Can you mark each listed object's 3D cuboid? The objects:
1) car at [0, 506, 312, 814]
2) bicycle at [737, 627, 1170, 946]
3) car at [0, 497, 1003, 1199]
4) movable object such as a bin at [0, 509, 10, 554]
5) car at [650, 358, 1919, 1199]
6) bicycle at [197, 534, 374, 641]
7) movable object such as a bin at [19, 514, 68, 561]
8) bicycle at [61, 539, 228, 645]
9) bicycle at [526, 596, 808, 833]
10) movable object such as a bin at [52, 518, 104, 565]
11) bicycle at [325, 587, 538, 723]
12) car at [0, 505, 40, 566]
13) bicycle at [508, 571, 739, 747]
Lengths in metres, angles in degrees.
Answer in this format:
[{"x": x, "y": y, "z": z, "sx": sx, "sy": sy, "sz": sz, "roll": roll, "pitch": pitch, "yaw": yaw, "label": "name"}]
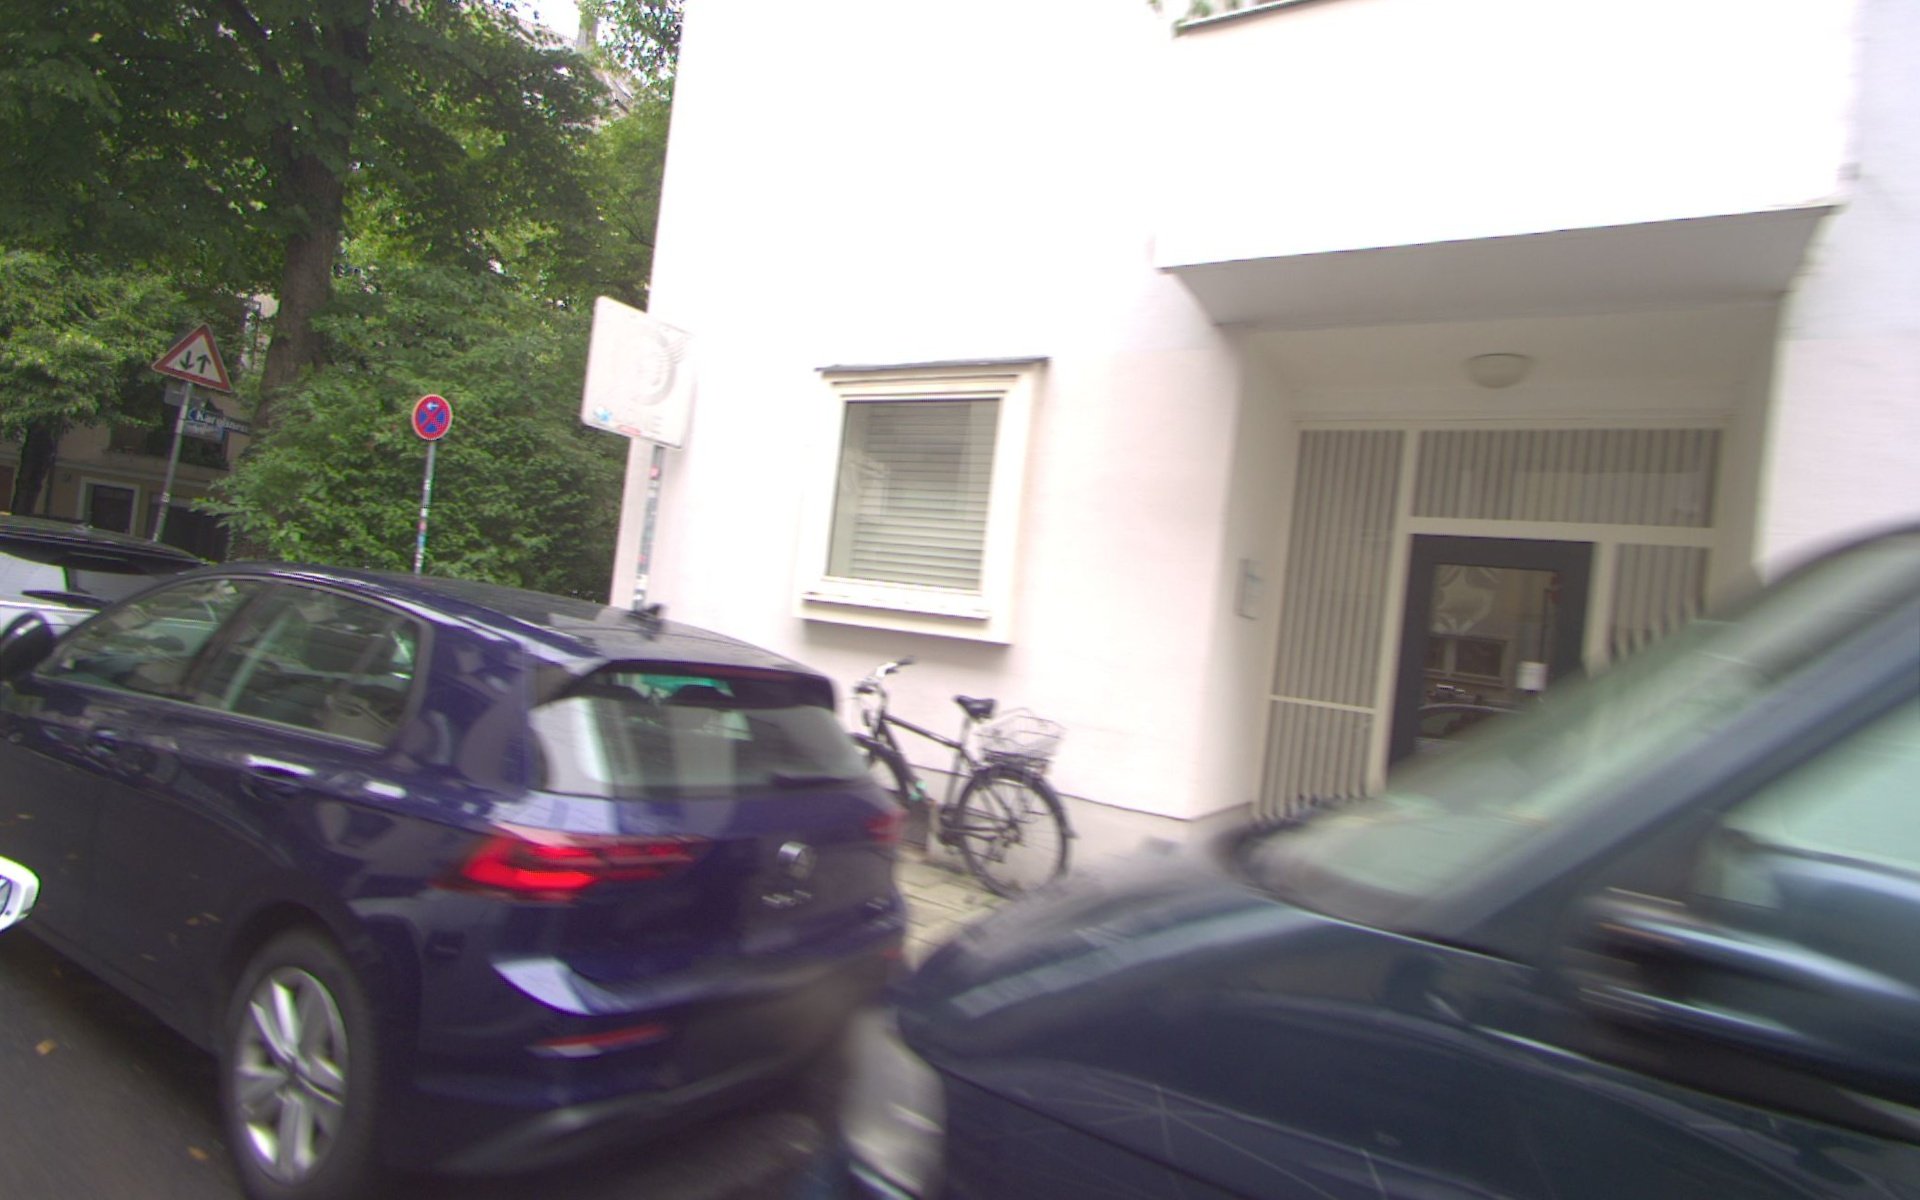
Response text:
[{"x": -5.935, "y": 0.156, "z": 6.176, "sx": 3.935, "sy": 1.458, "sz": 1.745, "roll": 6, "pitch": -1, "yaw": 33, "label": "car"}, {"x": -0.091, "y": 0.909, "z": 5.485, "sx": 2.210, "sy": 1.234, "sz": 0.625, "roll": 7, "pitch": -1, "yaw": 29, "label": "bicycle"}, {"x": -2.091, "y": 0.528, "z": 3.641, "sx": 3.991, "sy": 1.436, "sz": 1.836, "roll": 6, "pitch": -1, "yaw": 31, "label": "car"}, {"x": -30.023, "y": -2.181, "z": 30.697, "sx": 1.142, "sy": 1.364, "sz": 1.147, "roll": 9, "pitch": -1, "yaw": -32, "label": "movable object such as a bin"}, {"x": 2.050, "y": 0.890, "z": 1.001, "sx": 4.703, "sy": 1.812, "sz": 1.878, "roll": 6, "pitch": -2, "yaw": 32, "label": "car"}, {"x": -7.953, "y": -0.116, "z": 11.958, "sx": 0.594, "sy": 1.068, "sz": 1.637, "roll": 7, "pitch": -2, "yaw": 17, "label": "bicycle"}, {"x": -28.744, "y": -1.948, "z": 31.567, "sx": 0.707, "sy": 1.363, "sz": 1.363, "roll": 8, "pitch": -1, "yaw": -30, "label": "movable object such as a bin"}, {"x": -10.003, "y": -0.063, "z": 12.432, "sx": 0.544, "sy": 1.151, "sz": 1.773, "roll": 7, "pitch": -2, "yaw": -2, "label": "bicycle"}, {"x": -1.981, "y": 0.703, "z": 6.685, "sx": 1.886, "sy": 1.234, "sz": 0.560, "roll": 7, "pitch": -1, "yaw": 33, "label": "bicycle"}, {"x": -27.854, "y": -1.843, "z": 31.792, "sx": 0.857, "sy": 1.319, "sz": 1.420, "roll": 10, "pitch": -3, "yaw": -32, "label": "movable object such as a bin"}, {"x": -4.969, "y": 0.525, "z": 9.546, "sx": 1.610, "sy": 1.068, "sz": 0.450, "roll": 8, "pitch": -1, "yaw": -16, "label": "bicycle"}, {"x": -26.453, "y": -1.876, "z": 26.768, "sx": 1.691, "sy": 1.482, "sz": 4.264, "roll": 9, "pitch": -5, "yaw": -27, "label": "car"}, {"x": -2.690, "y": 0.514, "z": 8.304, "sx": 0.568, "sy": 1.244, "sz": 1.854, "roll": 7, "pitch": -2, "yaw": 24, "label": "bicycle"}]
